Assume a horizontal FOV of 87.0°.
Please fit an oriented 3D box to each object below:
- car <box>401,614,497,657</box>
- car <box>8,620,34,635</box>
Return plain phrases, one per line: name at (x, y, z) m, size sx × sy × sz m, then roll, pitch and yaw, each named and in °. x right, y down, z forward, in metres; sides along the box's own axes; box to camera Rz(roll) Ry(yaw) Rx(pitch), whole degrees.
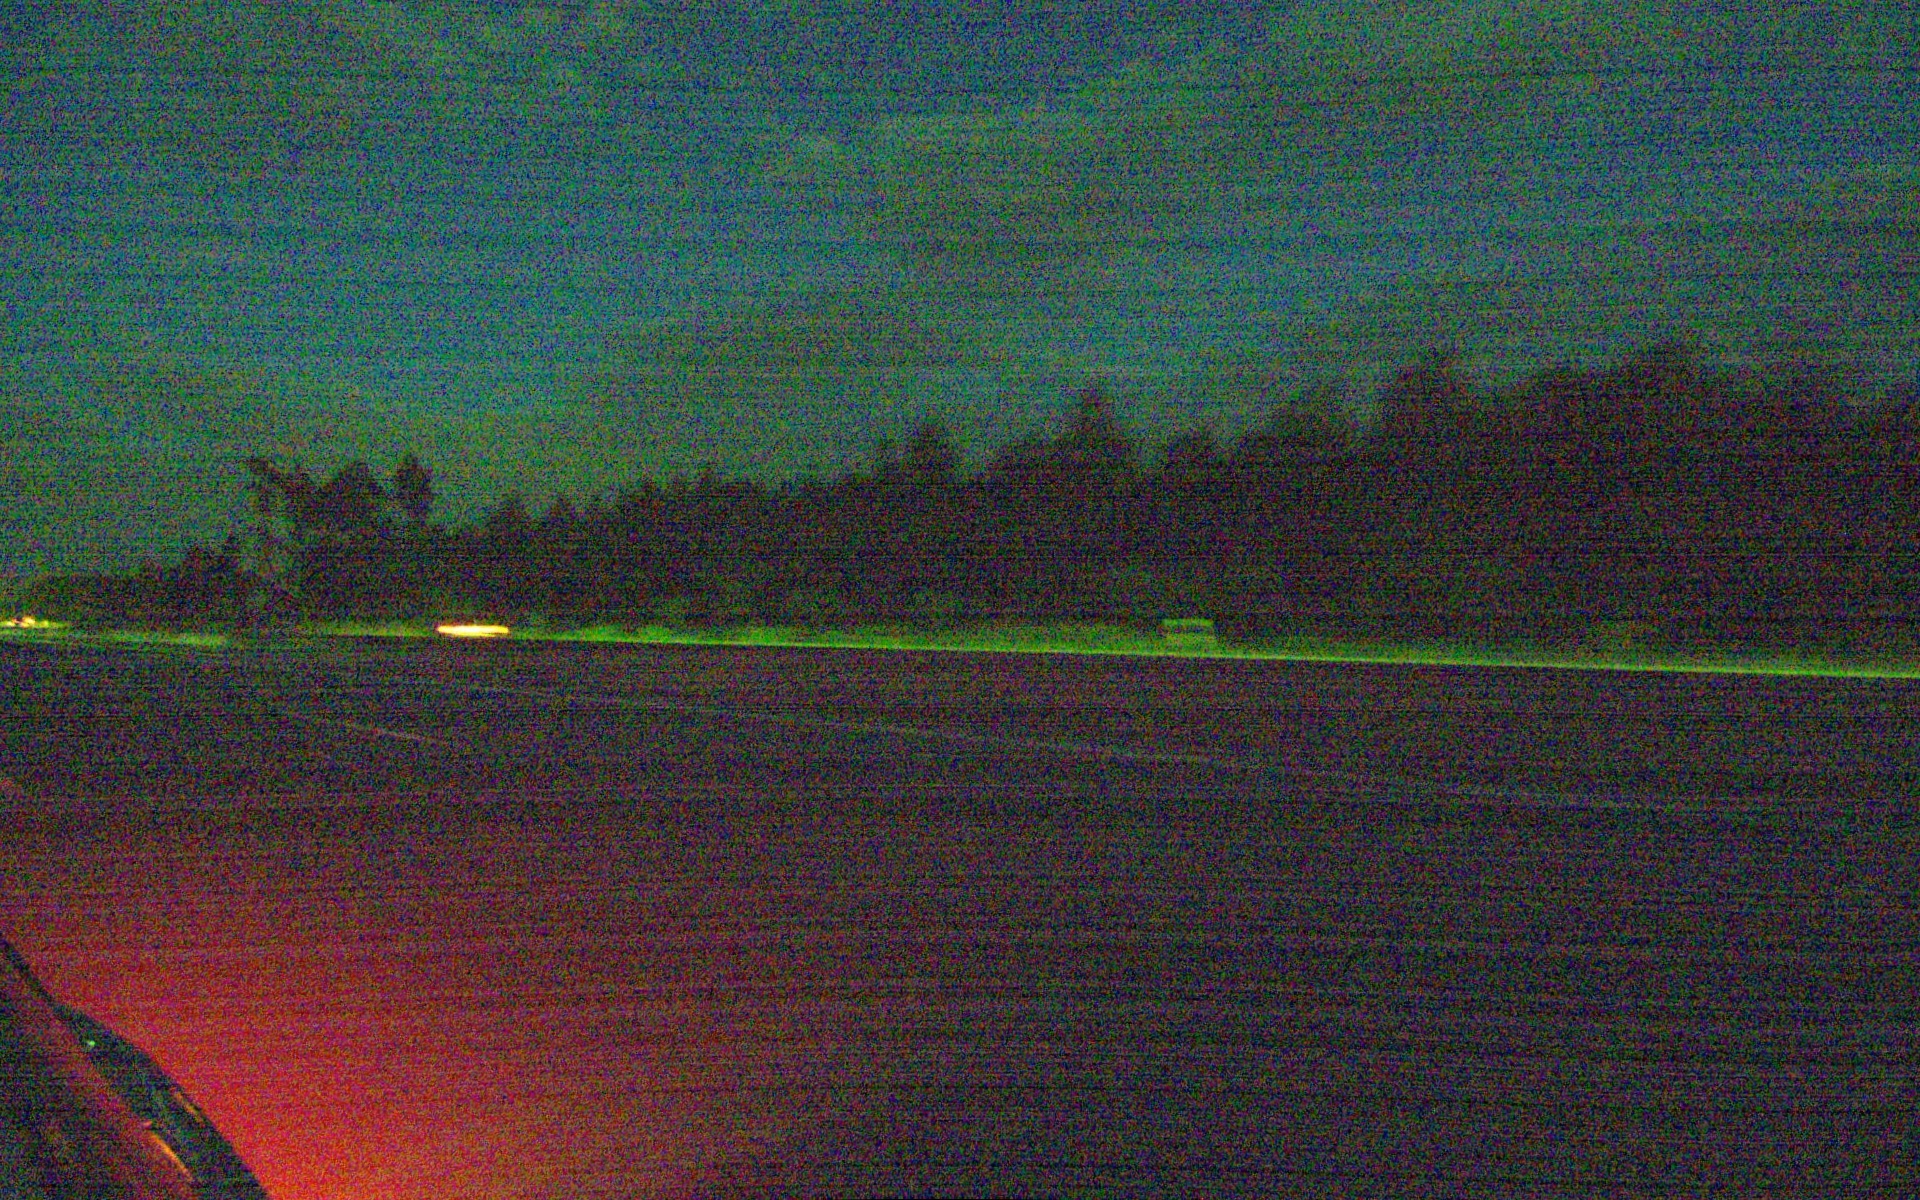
car at (-20.631, 1.373, 40.811) m, size 4.210 × 1.614 × 1.973 m, roll -1°, pitch 0°, yaw 40°
car at (-123.248, 3.564, 132.792) m, size 5.087 × 1.791 × 1.973 m, roll -1°, pitch 0°, yaw 41°
